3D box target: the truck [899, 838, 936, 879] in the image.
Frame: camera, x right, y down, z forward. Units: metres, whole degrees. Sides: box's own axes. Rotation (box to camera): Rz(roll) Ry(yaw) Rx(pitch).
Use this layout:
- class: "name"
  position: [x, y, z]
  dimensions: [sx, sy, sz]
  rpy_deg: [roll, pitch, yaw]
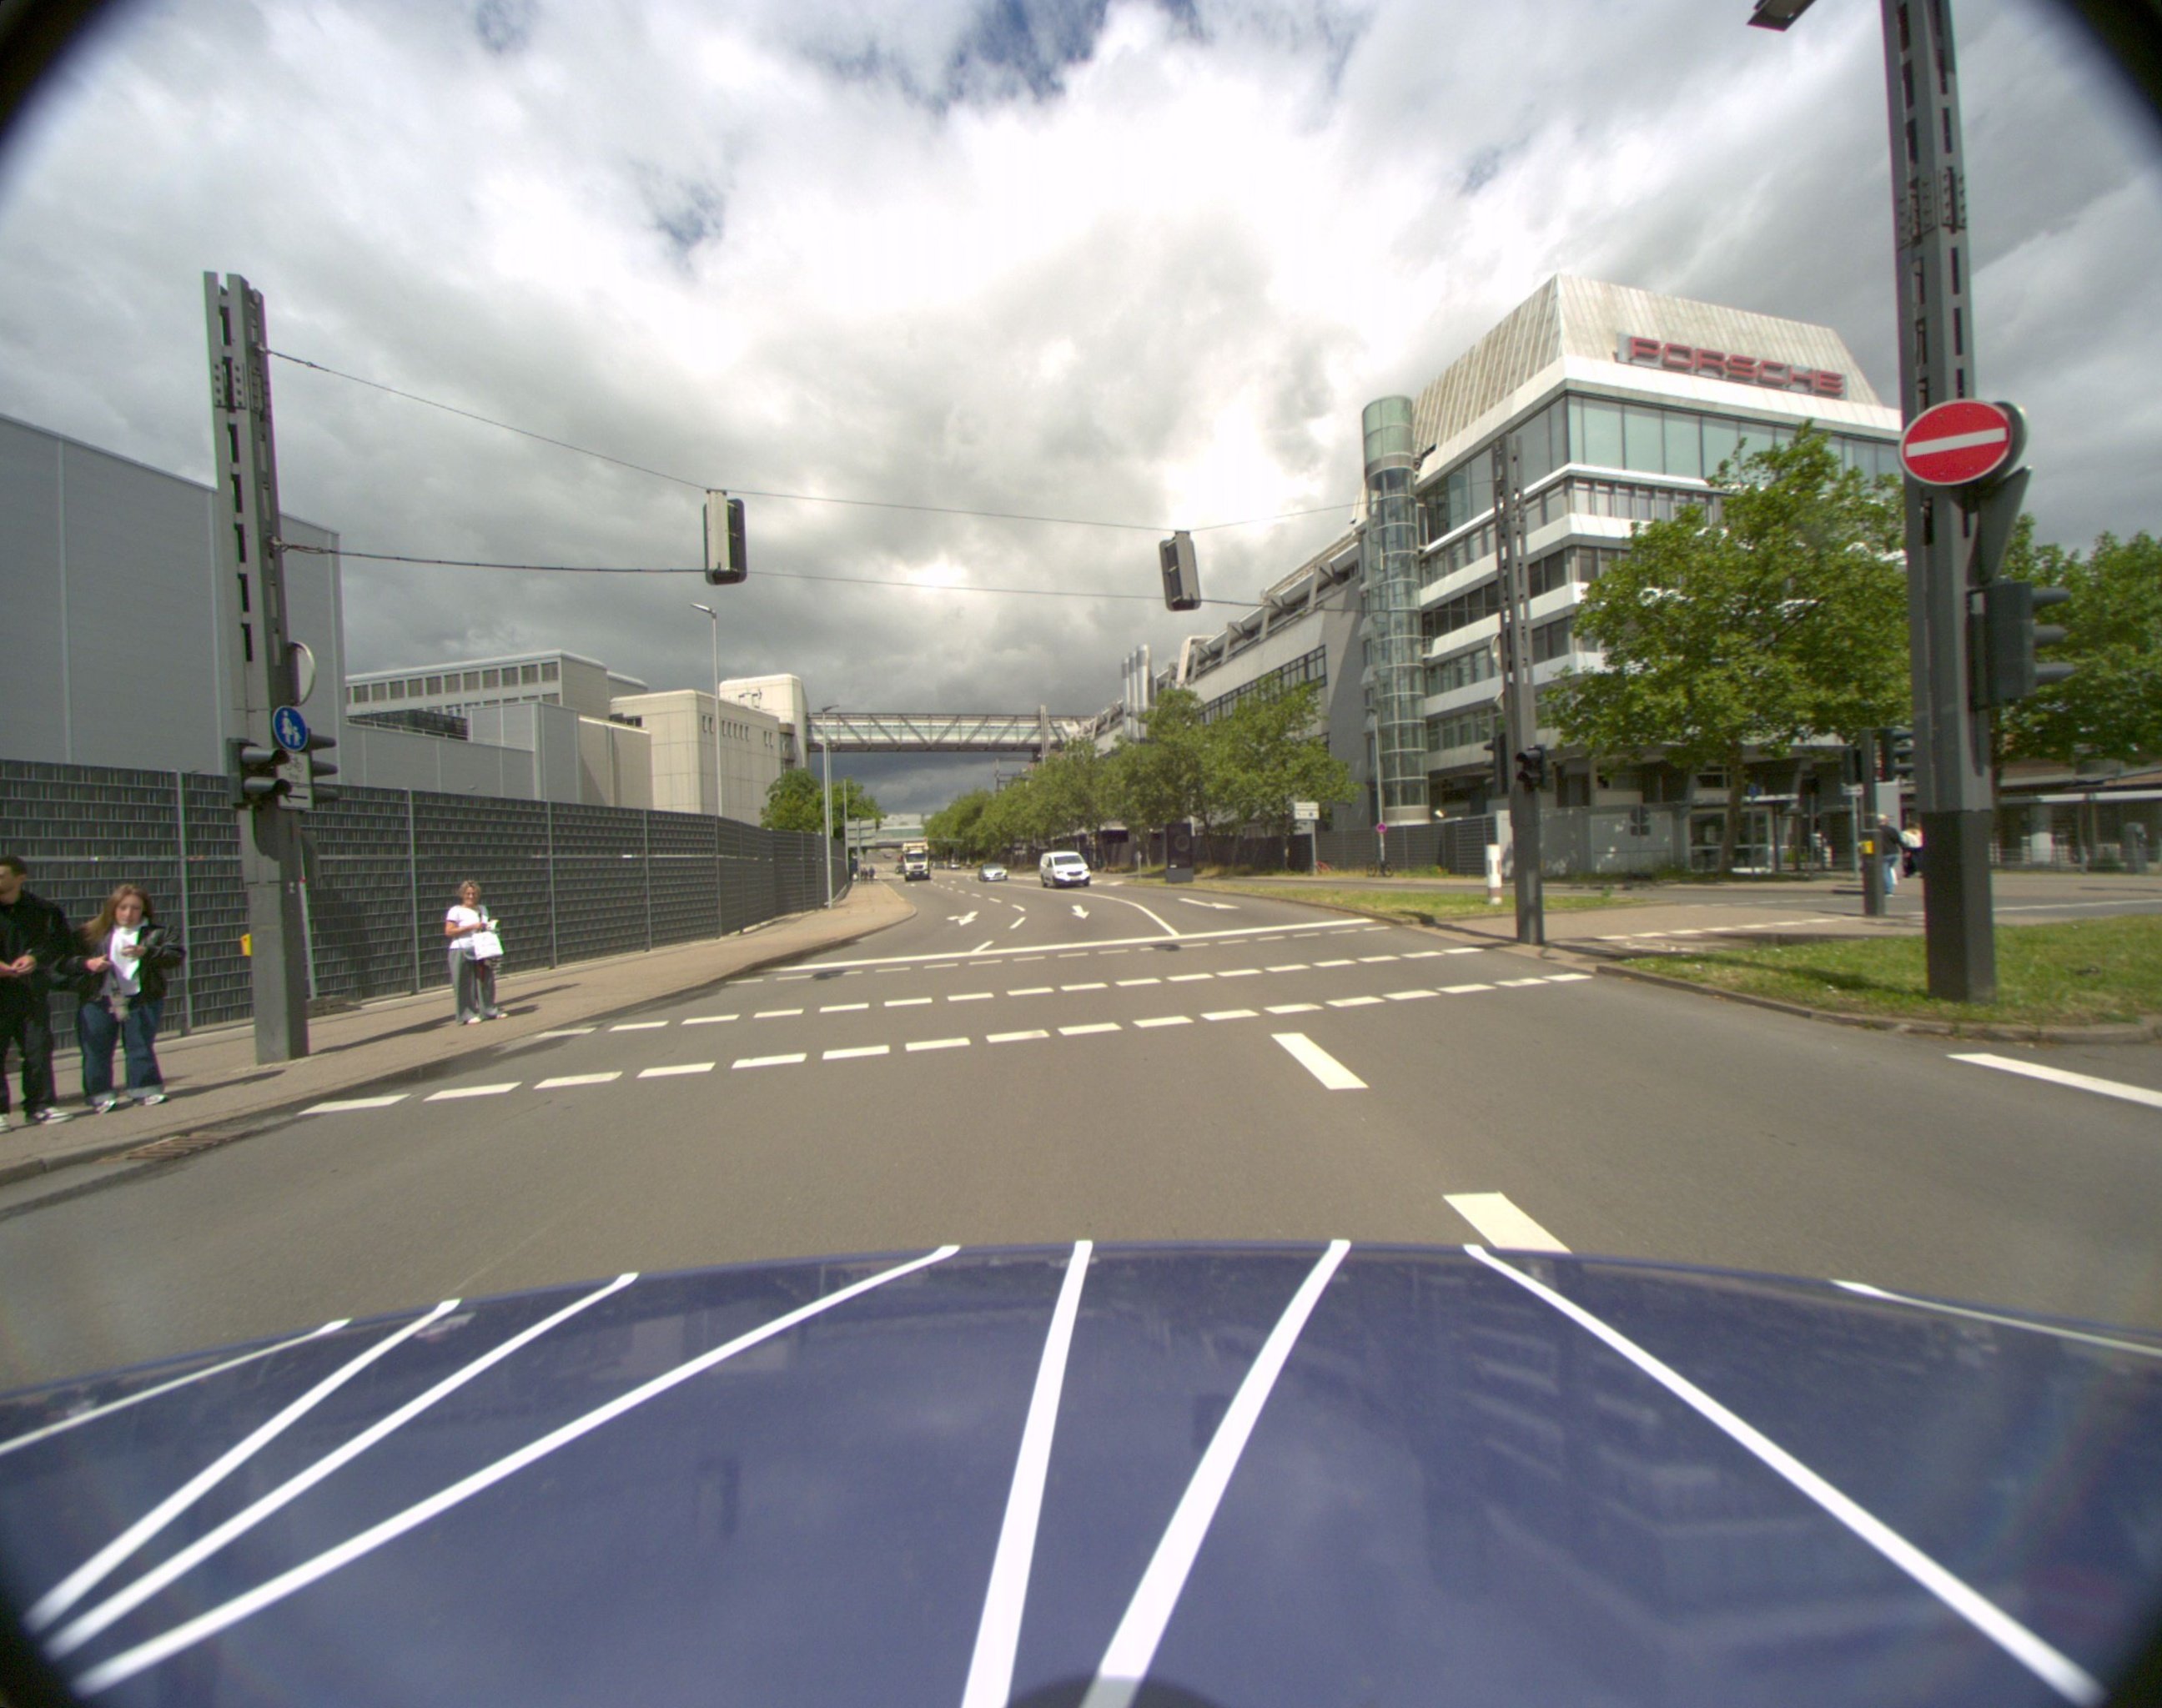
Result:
- class: "truck"
  position: [-17.251, 0.366, 79.542]
  dimensions: [2.716, 3.863, 10.724]
  rpy_deg: [-4, 1, -17]

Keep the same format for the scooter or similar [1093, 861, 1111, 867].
- class: "scooter or similar"
  position: [2.159, 1.042, 78.007]
  dimensions: [1.361, 0.378, 1.492]
  rpy_deg: [-5, 1, 20]

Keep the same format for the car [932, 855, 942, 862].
- class: "car"
  position: [-33.665, 0.962, 177.565]
  dimensions: [1.747, 1.571, 4.261]
  rpy_deg: [0, 0, -16]

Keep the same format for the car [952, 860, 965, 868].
- class: "car"
  position: [-23.026, 1.822, 142.681]
  dimensions: [1.885, 1.496, 4.185]
  rpy_deg: [0, 0, -16]

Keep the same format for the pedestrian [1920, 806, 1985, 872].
- class: "pedestrian"
  position: [24.421, -0.418, 21.304]
  dimensions: [0.867, 1.764, 1.033]
  rpy_deg: [-4, 2, -29]

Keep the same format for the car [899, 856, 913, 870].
- class: "car"
  position: [-28.244, 1.448, 122.374]
  dimensions: [1.874, 1.945, 4.704]
  rpy_deg: [-4, 2, -15]

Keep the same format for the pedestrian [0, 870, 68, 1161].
- class: "pedestrian"
  position: [-7.322, 1.061, 4.913]
  dimensions: [0.660, 1.856, 0.795]
  rpy_deg: [-2, 2, 35]

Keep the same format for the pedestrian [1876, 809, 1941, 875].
- class: "pedestrian"
  position: [22.986, -0.335, 21.113]
  dimensions: [0.867, 1.764, 1.033]
  rpy_deg: [-4, 2, -29]

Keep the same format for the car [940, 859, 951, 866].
- class: "car"
  position: [-27.657, 1.703, 154.853]
  dimensions: [1.698, 1.406, 4.139]
  rpy_deg: [0, 0, -16]

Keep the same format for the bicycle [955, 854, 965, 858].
- class: "bicycle"
  position: [-32.013, 0.556, 201.737]
  dimensions: [2.564, 1.079, 0.615]
  rpy_deg: [-3, 2, -9]

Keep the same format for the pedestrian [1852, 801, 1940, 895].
- class: "pedestrian"
  position: [18.538, -0.141, 17.305]
  dimensions: [0.954, 2.044, 0.951]
  rpy_deg: [-3, 2, 3]

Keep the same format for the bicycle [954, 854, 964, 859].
- class: "bicycle"
  position: [-32.317, 0.581, 200.708]
  dimensions: [2.564, 1.079, 0.615]
  rpy_deg: [-3, 2, -10]

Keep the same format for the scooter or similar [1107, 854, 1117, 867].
- class: "scooter or similar"
  position: [2.970, 0.612, 72.815]
  dimensions: [0.525, 1.227, 1.316]
  rpy_deg: [-6, 1, -14]

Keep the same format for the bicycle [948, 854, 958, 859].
- class: "bicycle"
  position: [-35.897, 0.706, 212.618]
  dimensions: [2.565, 1.171, 0.615]
  rpy_deg: [-3, 2, -15]

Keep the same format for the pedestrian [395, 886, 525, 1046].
- class: "pedestrian"
  position: [-6.831, 1.199, 8.403]
  dimensions: [0.661, 1.599, 0.822]
  rpy_deg: [-3, 2, -5]

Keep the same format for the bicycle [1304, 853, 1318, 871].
- class: "bicycle"
  position: [12.942, 0.437, 42.754]
  dimensions: [0.297, 1.000, 1.251]
  rpy_deg: [-3, 2, -5]

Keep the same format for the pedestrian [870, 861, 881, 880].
- class: "pedestrian"
  position: [-18.883, 1.526, 69.690]
  dimensions: [0.798, 1.711, 0.730]
  rpy_deg: [-4, 2, -19]

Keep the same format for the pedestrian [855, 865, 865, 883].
- class: "pedestrian"
  position: [-20.688, 1.900, 71.180]
  dimensions: [0.798, 1.588, 0.730]
  rpy_deg: [-4, 2, -18]

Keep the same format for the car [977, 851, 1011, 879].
- class: "car"
  position: [-6.874, 0.807, 59.924]
  dimensions: [1.874, 1.945, 4.704]
  rpy_deg: [-4, 2, -15]

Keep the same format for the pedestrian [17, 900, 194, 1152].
- class: "pedestrian"
  position: [-6.940, 1.165, 5.422]
  dimensions: [0.464, 1.606, 0.664]
  rpy_deg: [-2, 2, 36]

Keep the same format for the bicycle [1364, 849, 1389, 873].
- class: "bicycle"
  position: [14.144, 0.326, 36.418]
  dimensions: [0.297, 1.125, 1.483]
  rpy_deg: [-4, 2, -13]

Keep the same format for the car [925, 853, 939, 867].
- class: "car"
  position: [-24.055, 0.979, 122.511]
  dimensions: [1.874, 1.945, 4.704]
  rpy_deg: [-4, 2, -15]

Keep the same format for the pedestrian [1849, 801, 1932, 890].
- class: "pedestrian"
  position: [19.557, -0.208, 18.383]
  dimensions: [0.954, 2.044, 0.951]
  rpy_deg: [-3, 2, 3]

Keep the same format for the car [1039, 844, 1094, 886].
- class: "car"
  position: [-0.825, 0.617, 39.662]
  dimensions: [1.827, 2.001, 4.386]
  rpy_deg: [-2, -1, -15]
